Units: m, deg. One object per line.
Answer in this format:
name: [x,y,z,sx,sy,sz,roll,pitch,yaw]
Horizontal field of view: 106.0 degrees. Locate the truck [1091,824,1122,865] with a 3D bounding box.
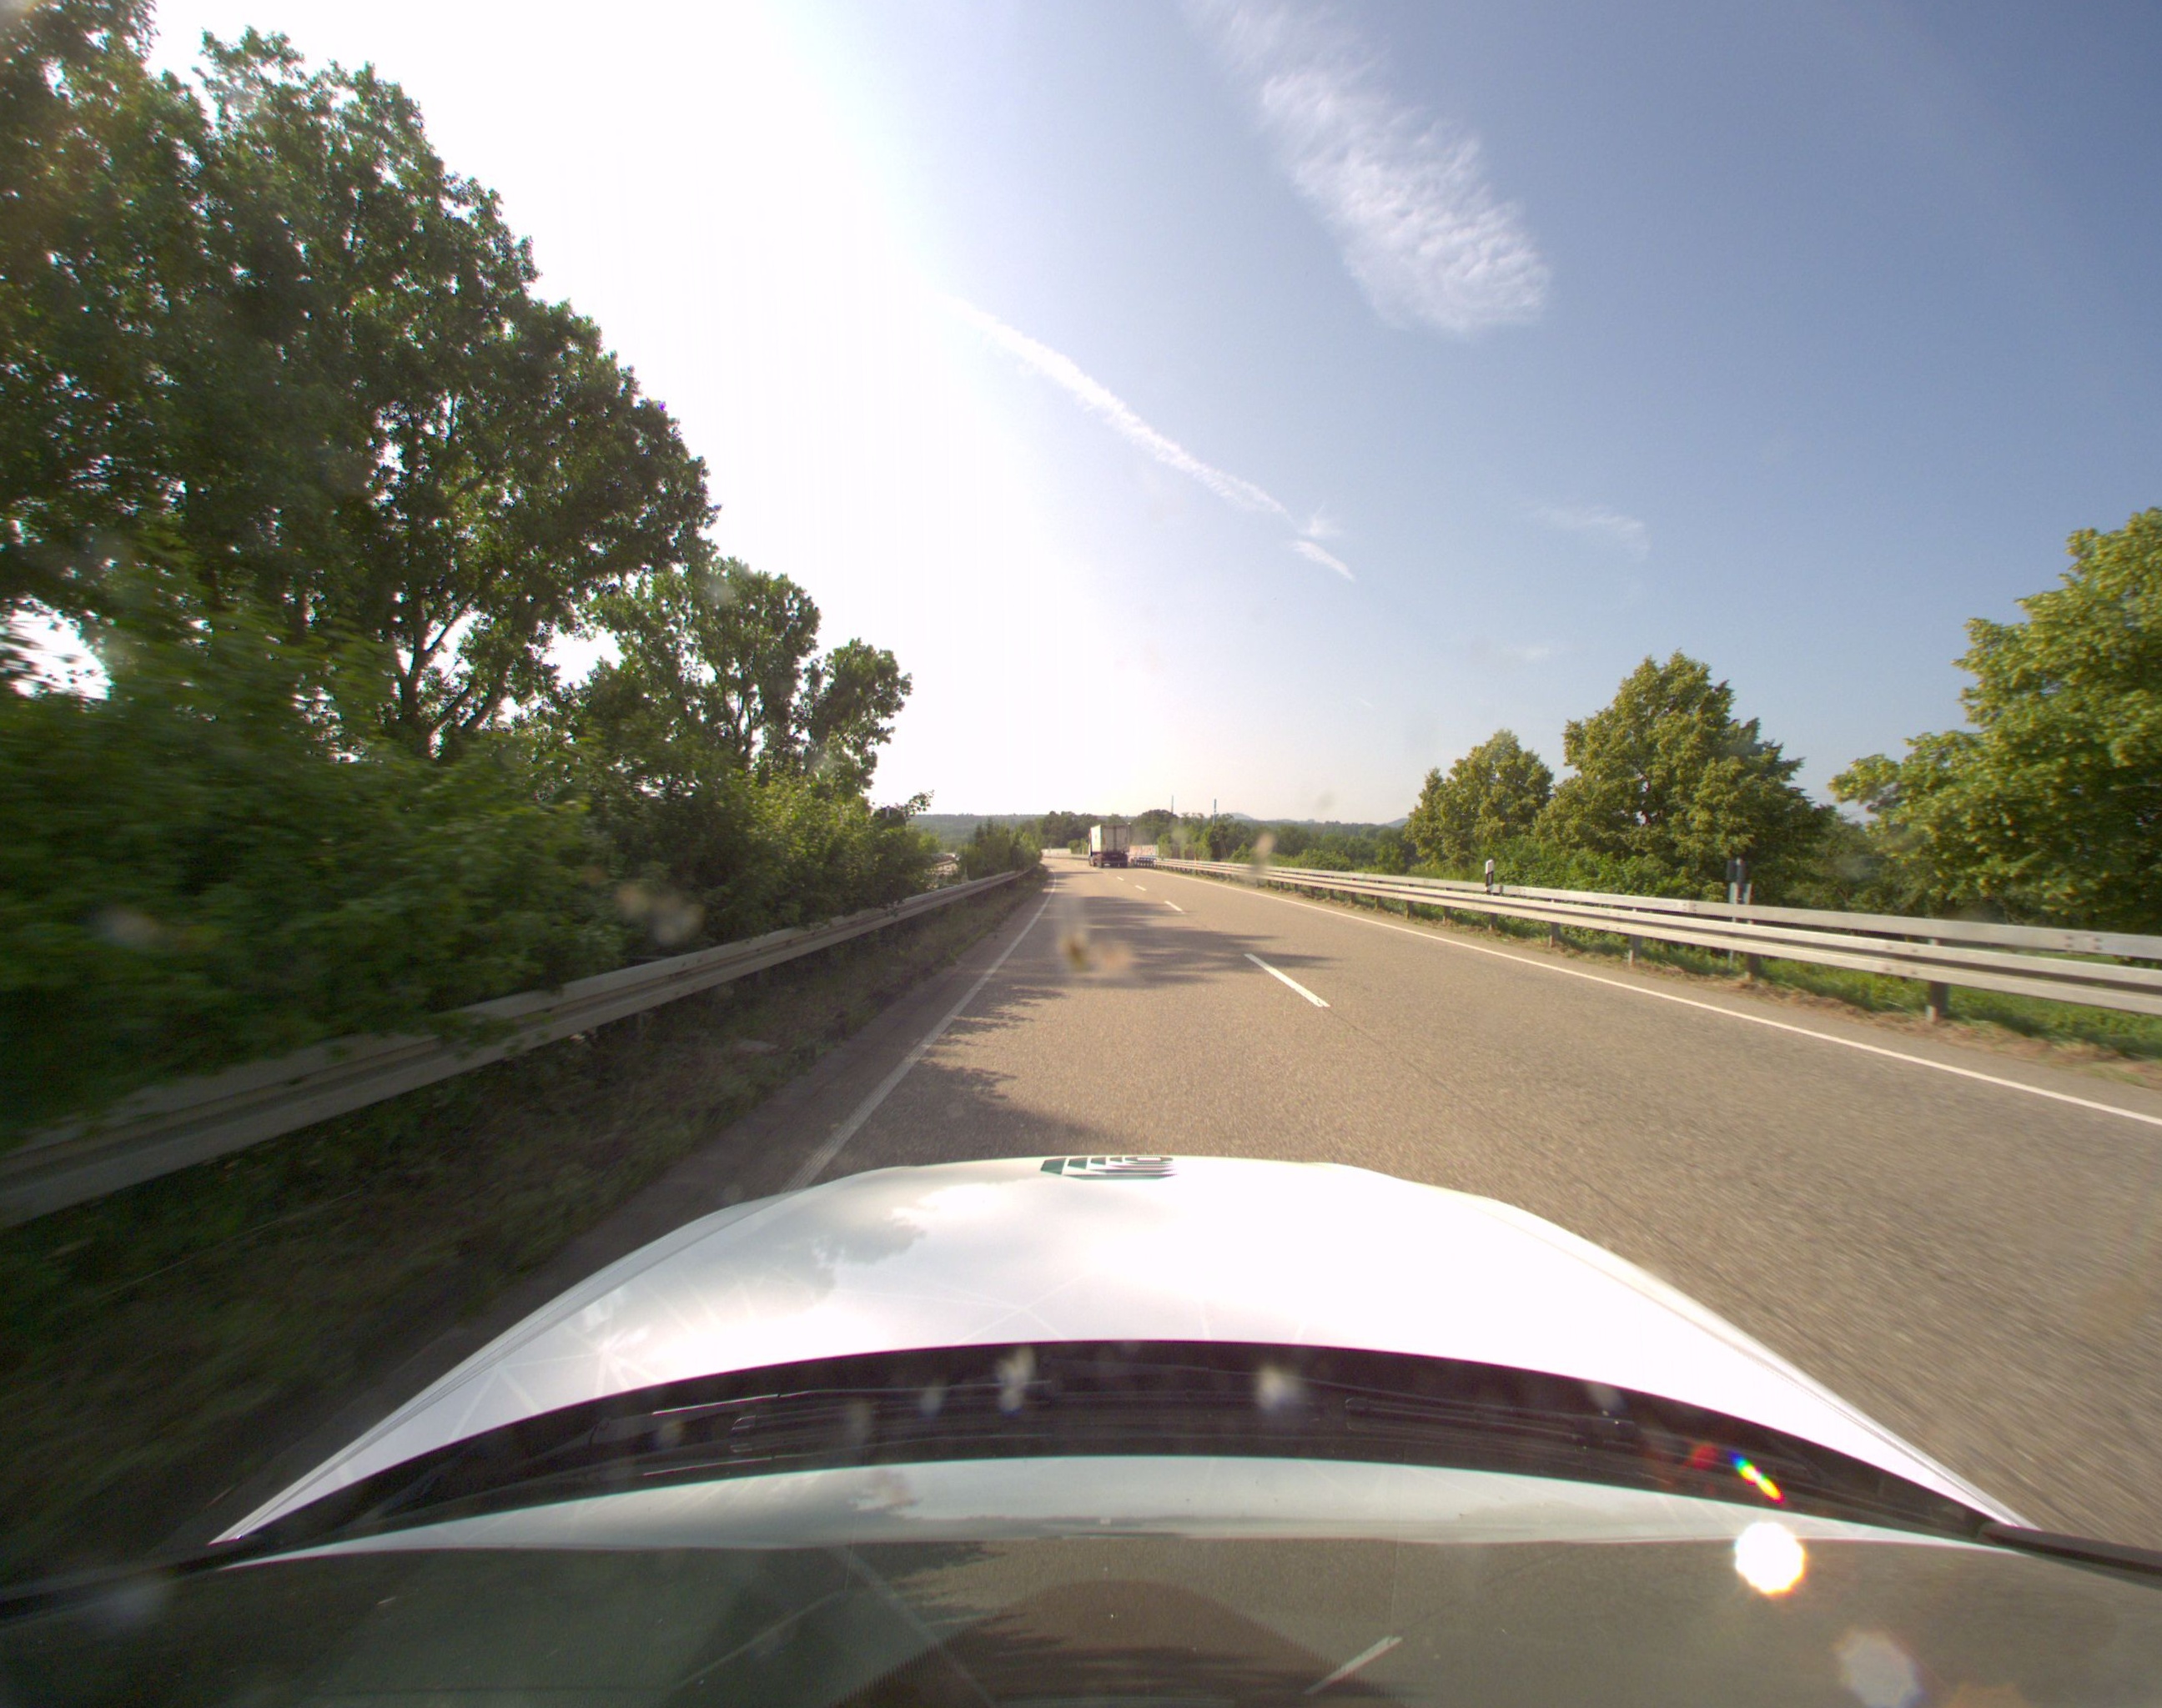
truck: [2.468,-0.909,80.885,2.652,3.896,5.642,0,0,-3]

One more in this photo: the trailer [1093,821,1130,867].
trailer: [2.744,-0.879,75.032,2.673,3.907,9.664,0,0,-2]
